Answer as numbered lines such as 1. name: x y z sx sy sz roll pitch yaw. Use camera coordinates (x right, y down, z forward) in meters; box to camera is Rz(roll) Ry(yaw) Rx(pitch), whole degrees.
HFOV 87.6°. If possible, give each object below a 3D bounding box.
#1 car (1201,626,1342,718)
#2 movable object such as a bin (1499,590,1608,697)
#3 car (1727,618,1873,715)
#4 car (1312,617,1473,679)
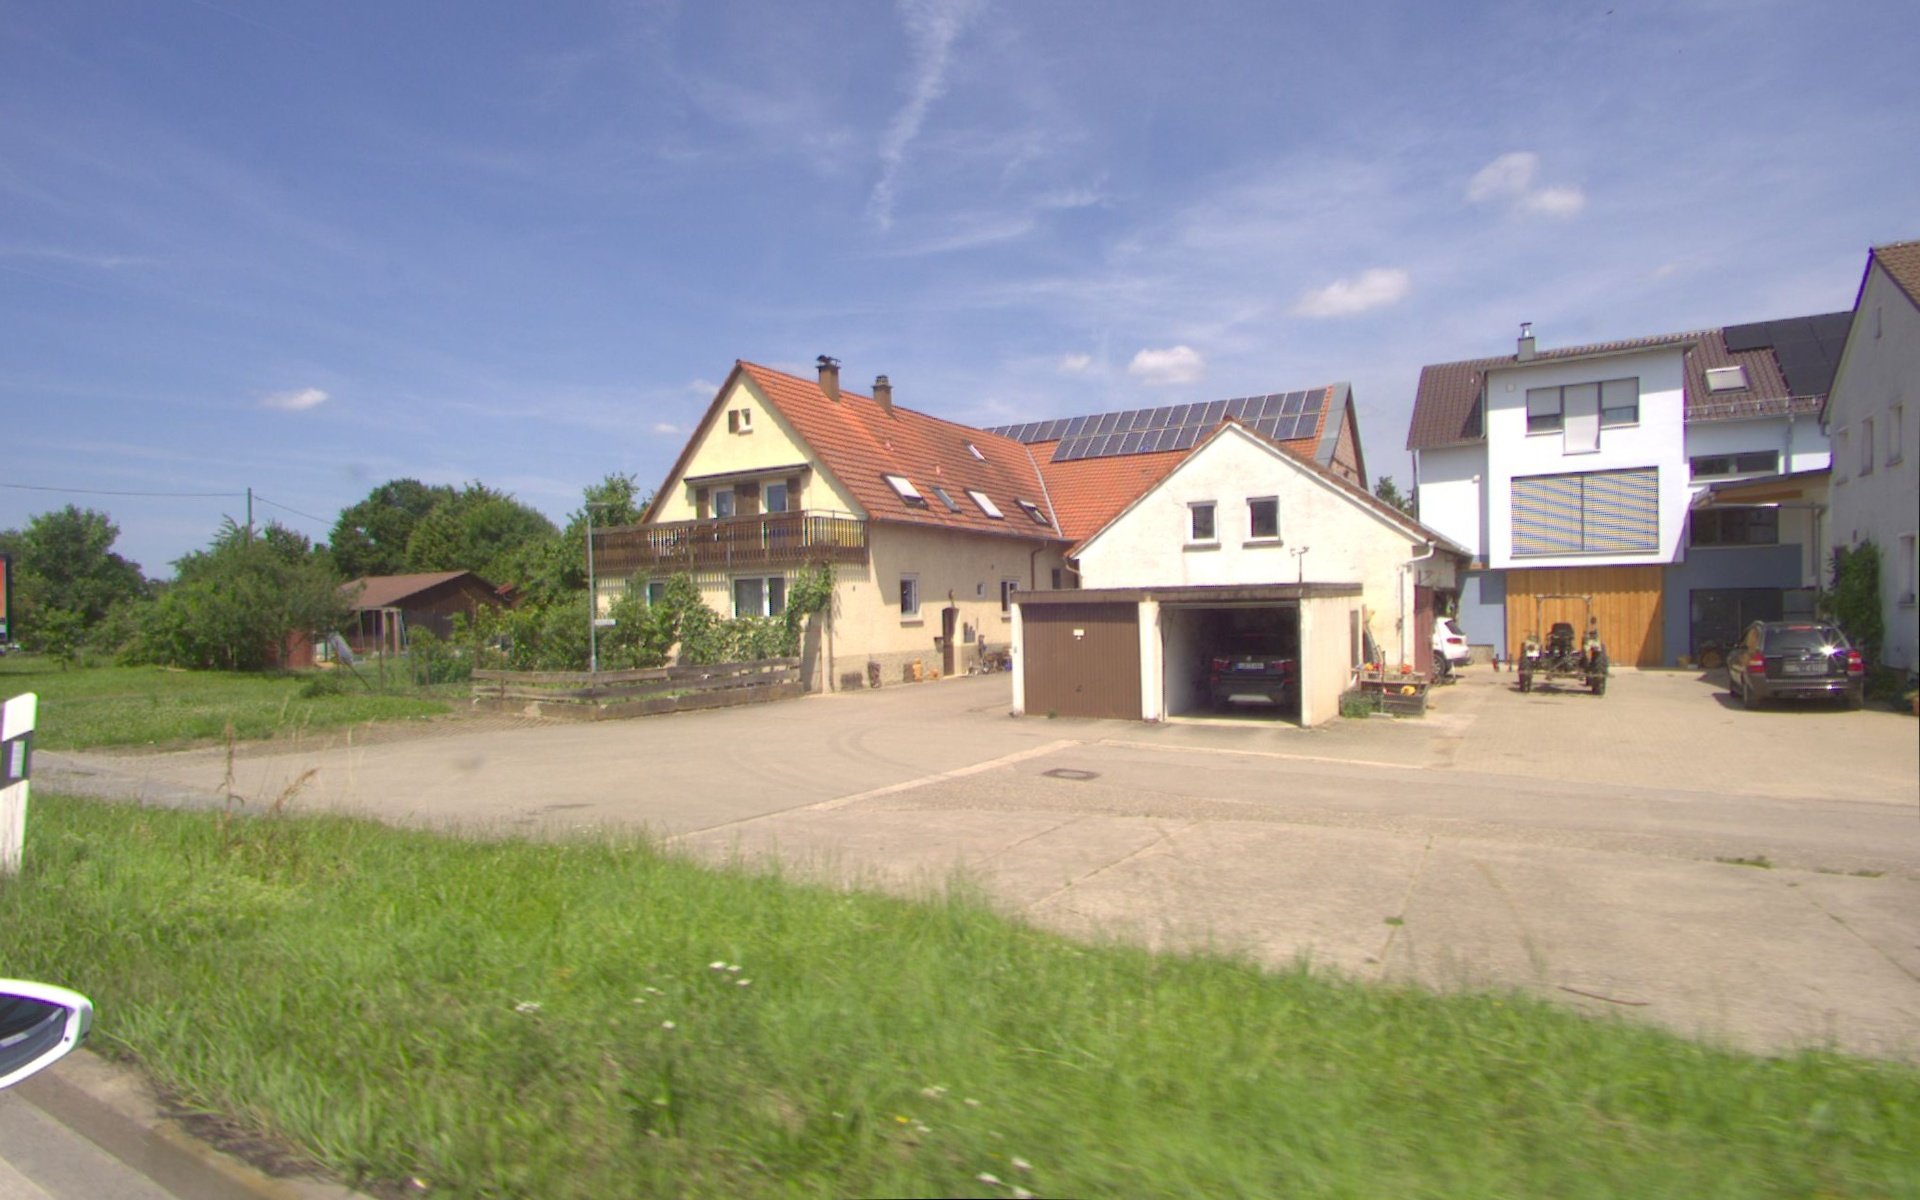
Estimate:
1. car: 6.431 1.379 20.399 1.808 1.599 3.979 -1 -1 31
2. movable object such as a bin: 14.419 0.955 24.247 2.050 2.375 3.699 1 1 34
3. car: 17.084 1.274 20.557 1.819 1.715 3.938 -2 -1 33
4. car: 12.191 1.331 28.288 3.943 1.639 1.751 -2 -1 32
